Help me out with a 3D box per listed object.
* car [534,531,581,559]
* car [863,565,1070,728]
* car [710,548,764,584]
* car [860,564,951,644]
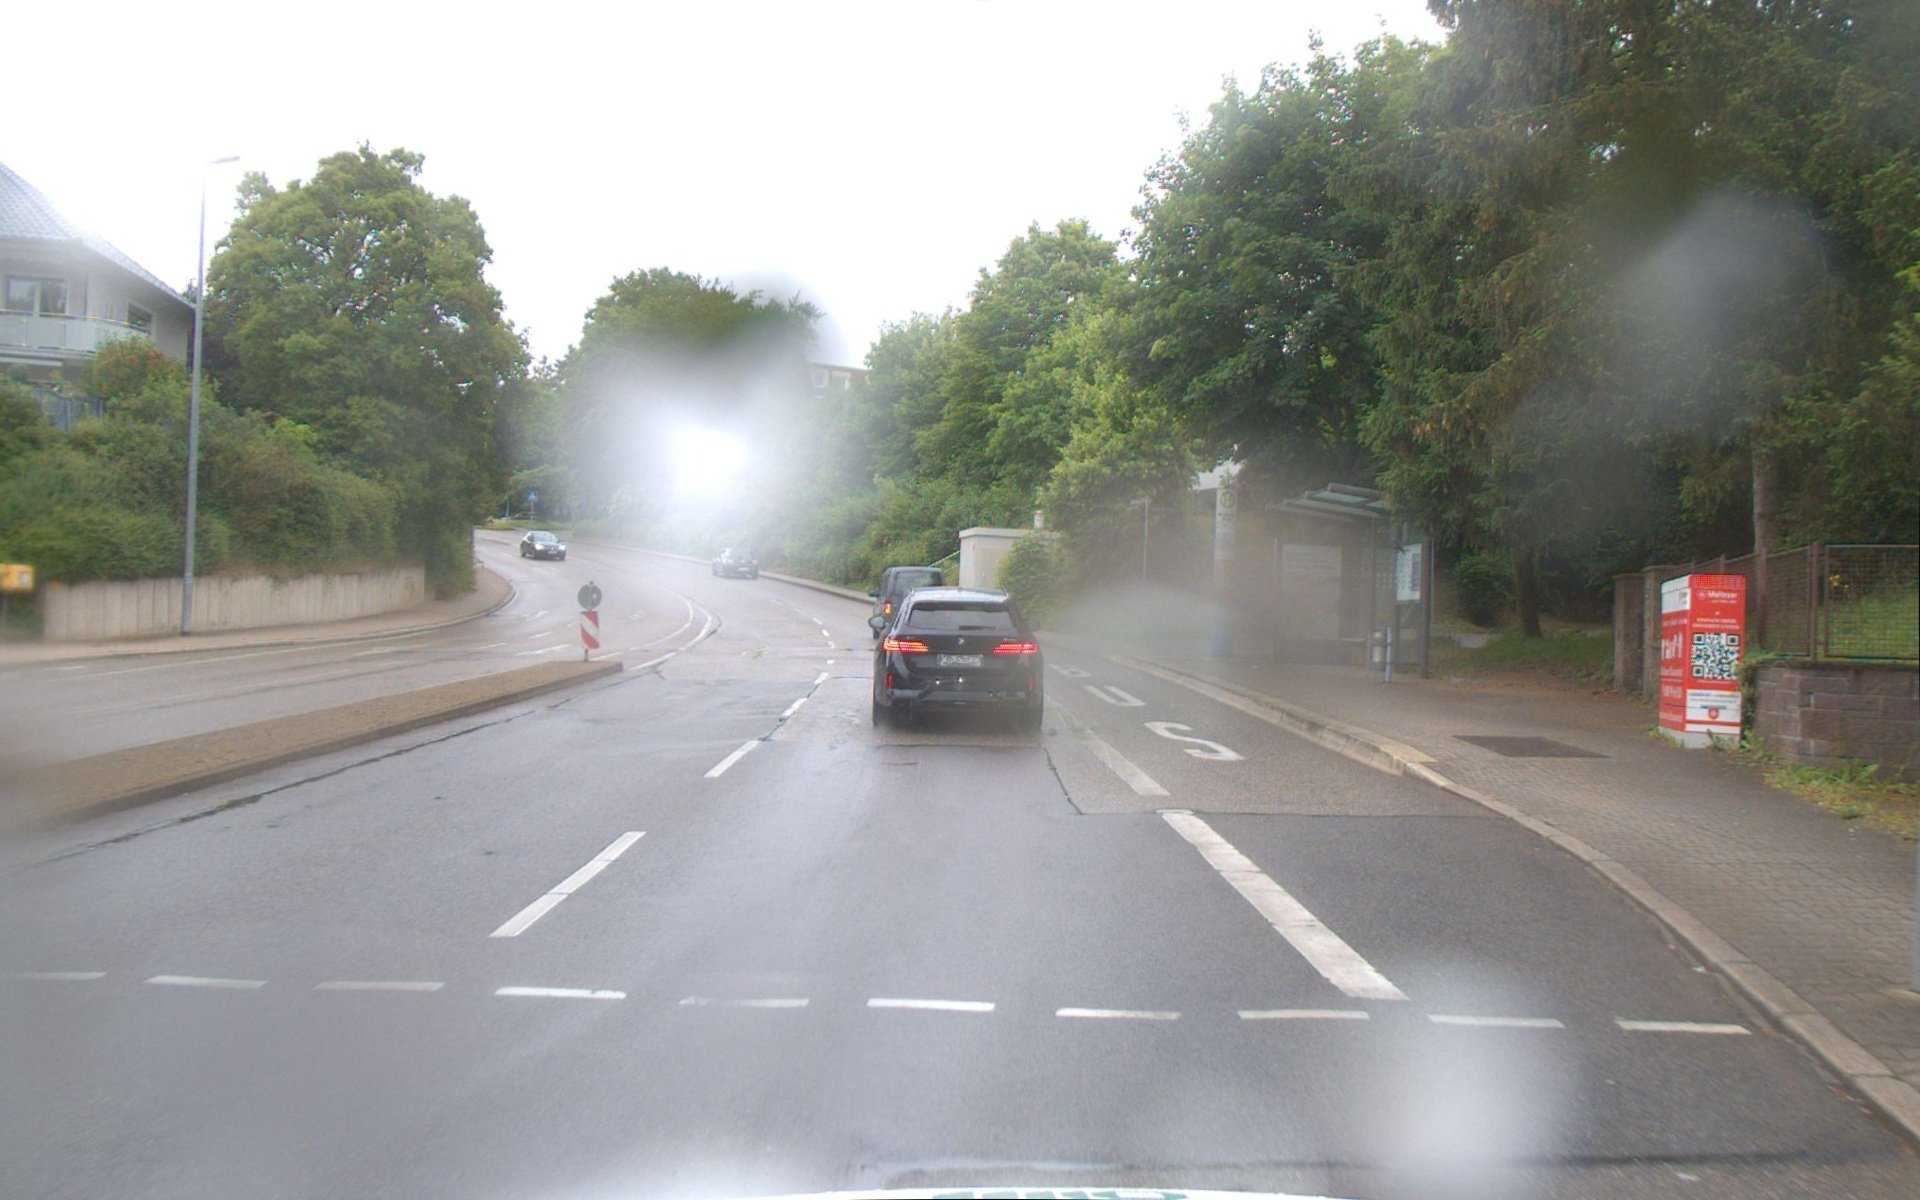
[{"bbox_3d":[-22.295,-3.034,91.566,1.867,1.513,4.203,0,1,-24],"label":"car"},{"bbox_3d":[-0.057,0.589,19.267,1.955,1.614,4.657,2,-3,-5],"label":"car"},{"bbox_3d":[-11.073,-1.657,82.079,1.824,1.691,3.977,2,0,-20],"label":"car"},{"bbox_3d":[-1.393,0.057,40.579,1.955,1.779,3.996,1,2,-6],"label":"car"}]
